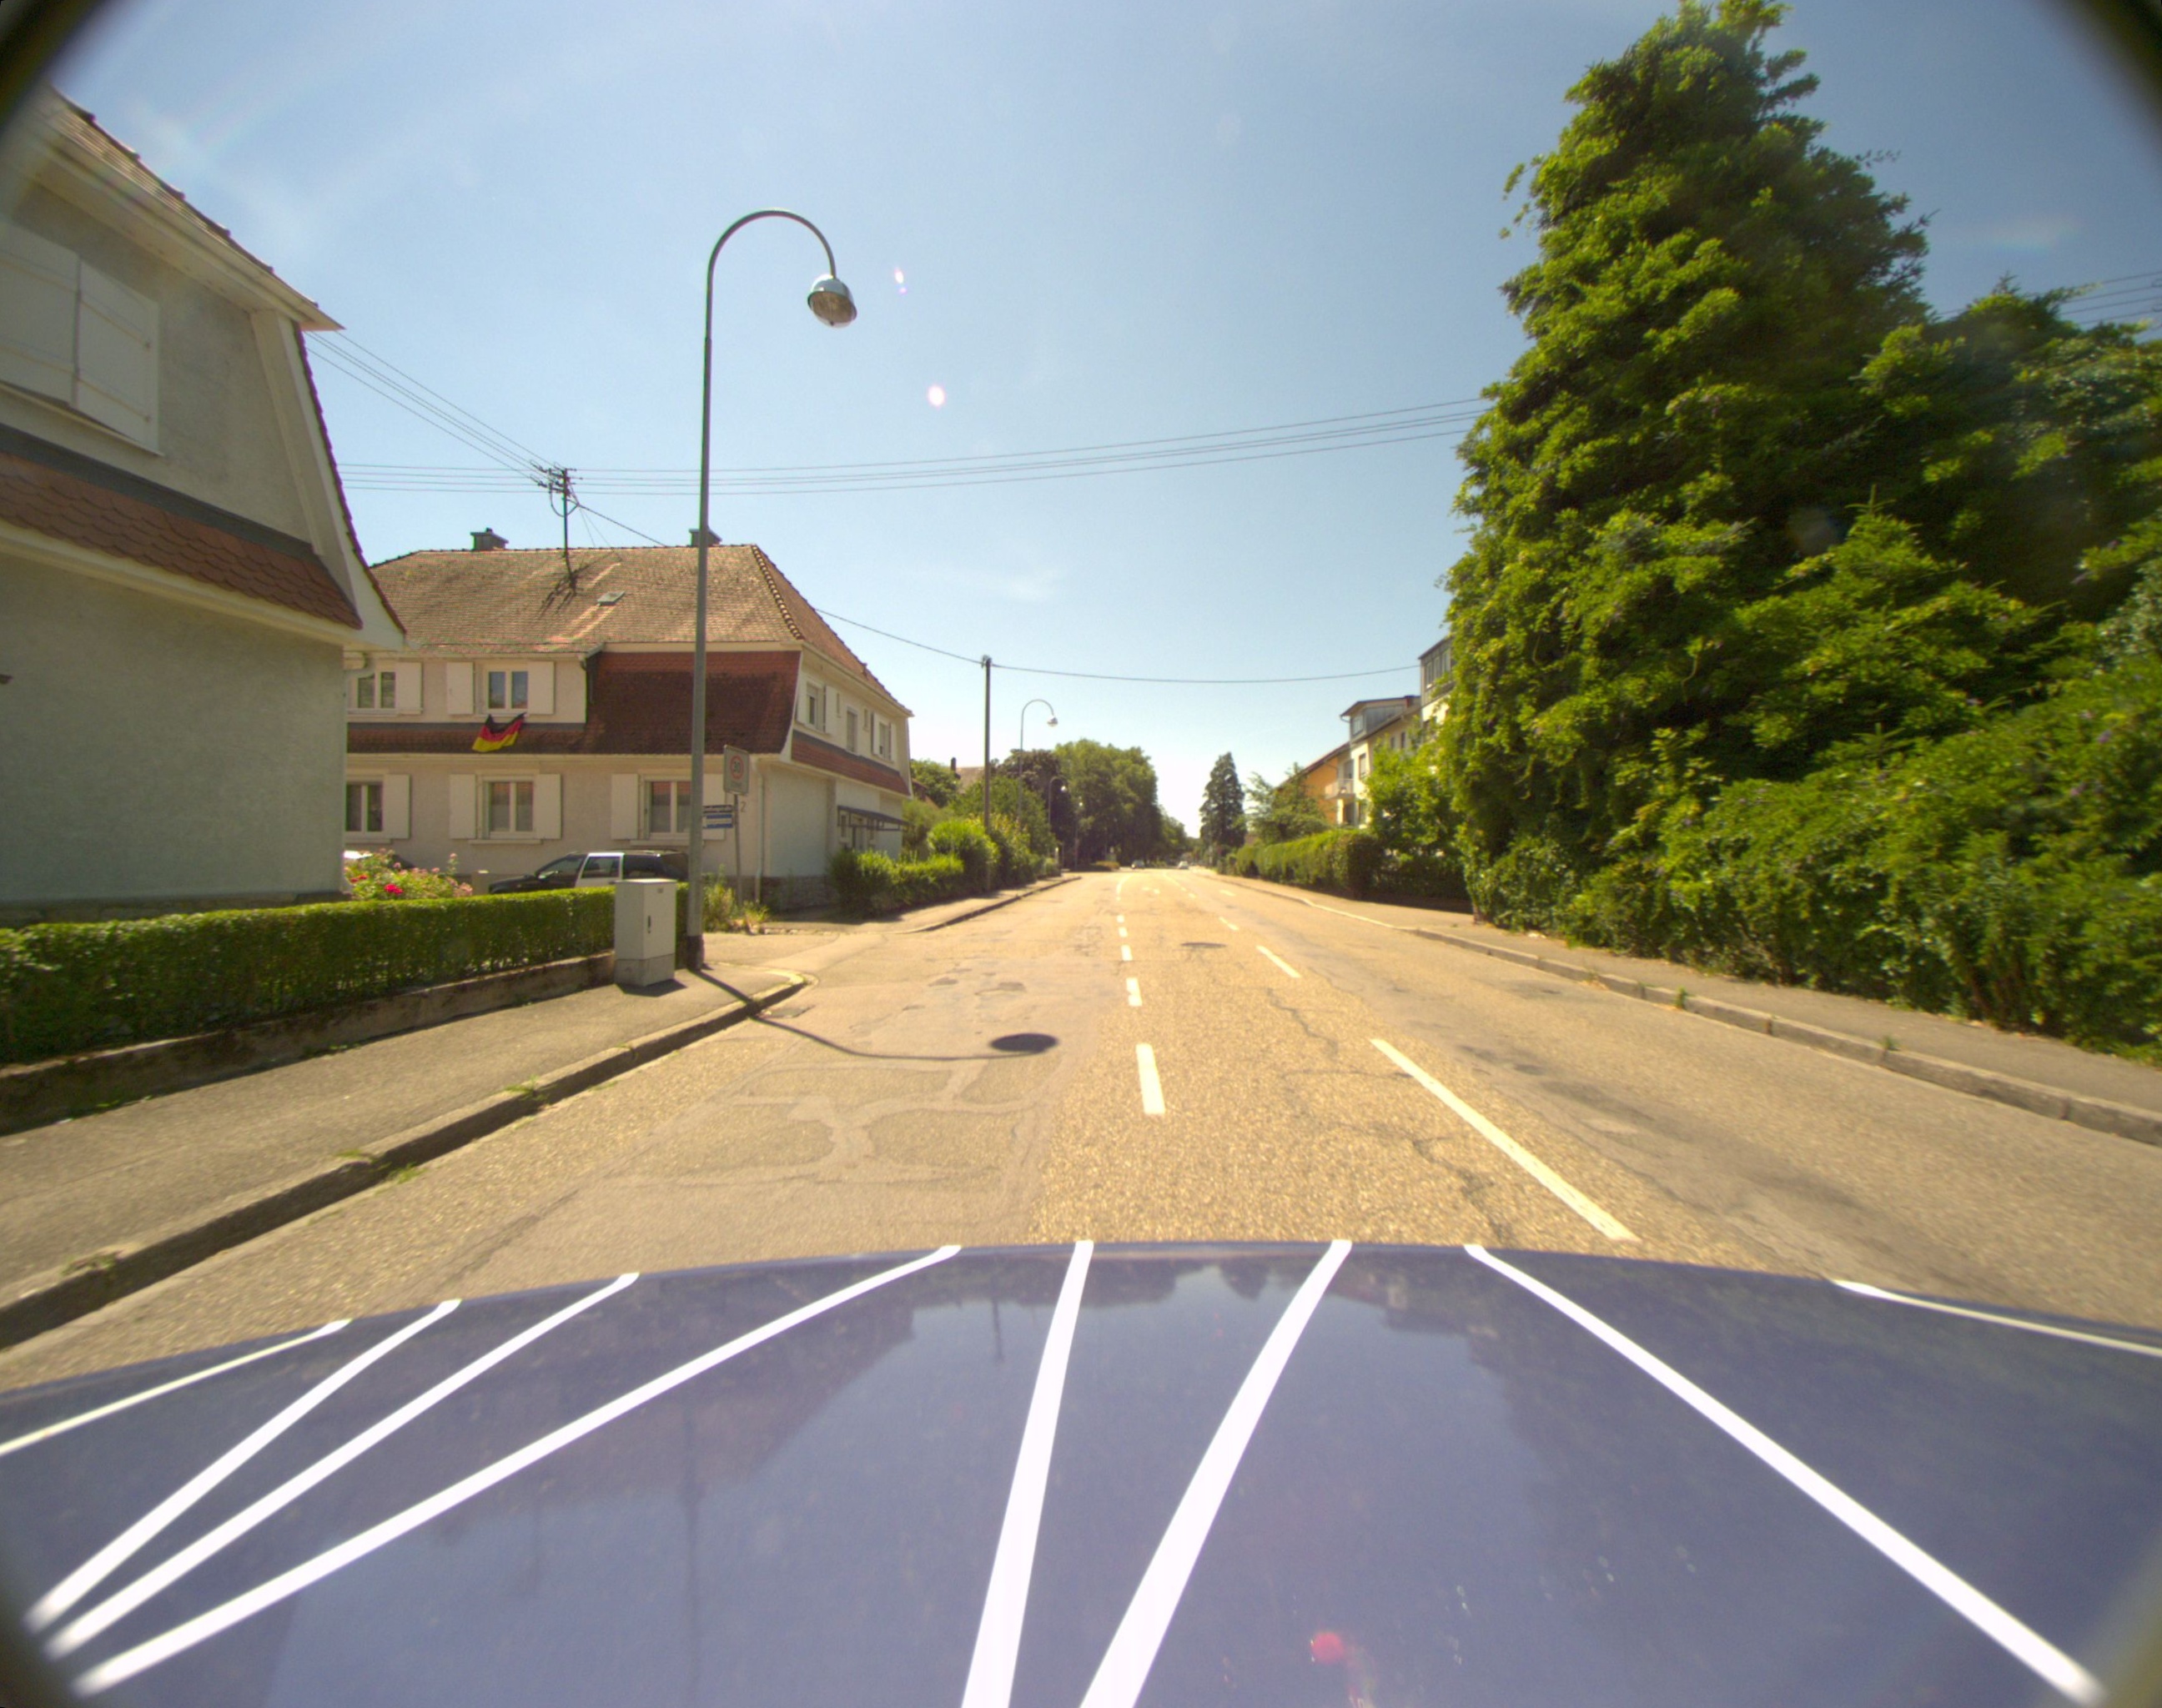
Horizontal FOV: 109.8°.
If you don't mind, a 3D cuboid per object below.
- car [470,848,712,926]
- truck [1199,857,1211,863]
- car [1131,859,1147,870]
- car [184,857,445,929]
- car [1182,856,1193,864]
[{"bbox_3d":[-10.223,0.651,16.042,4.005,1.527,1.693,-1,1,2],"label":"car"},{"bbox_3d":[42.701,2.075,262.027,2.618,2.227,6.268,0,0,22],"label":"truck"},{"bbox_3d":[8.916,1.614,117.209,1.882,1.623,4.325,1,0,12],"label":"car"},{"bbox_3d":[-16.227,0.795,16.249,3.751,1.404,1.692,1,1,-3],"label":"car"},{"bbox_3d":[19.231,1.085,137.704,1.684,1.364,4.208,2,0,5],"label":"car"}]
